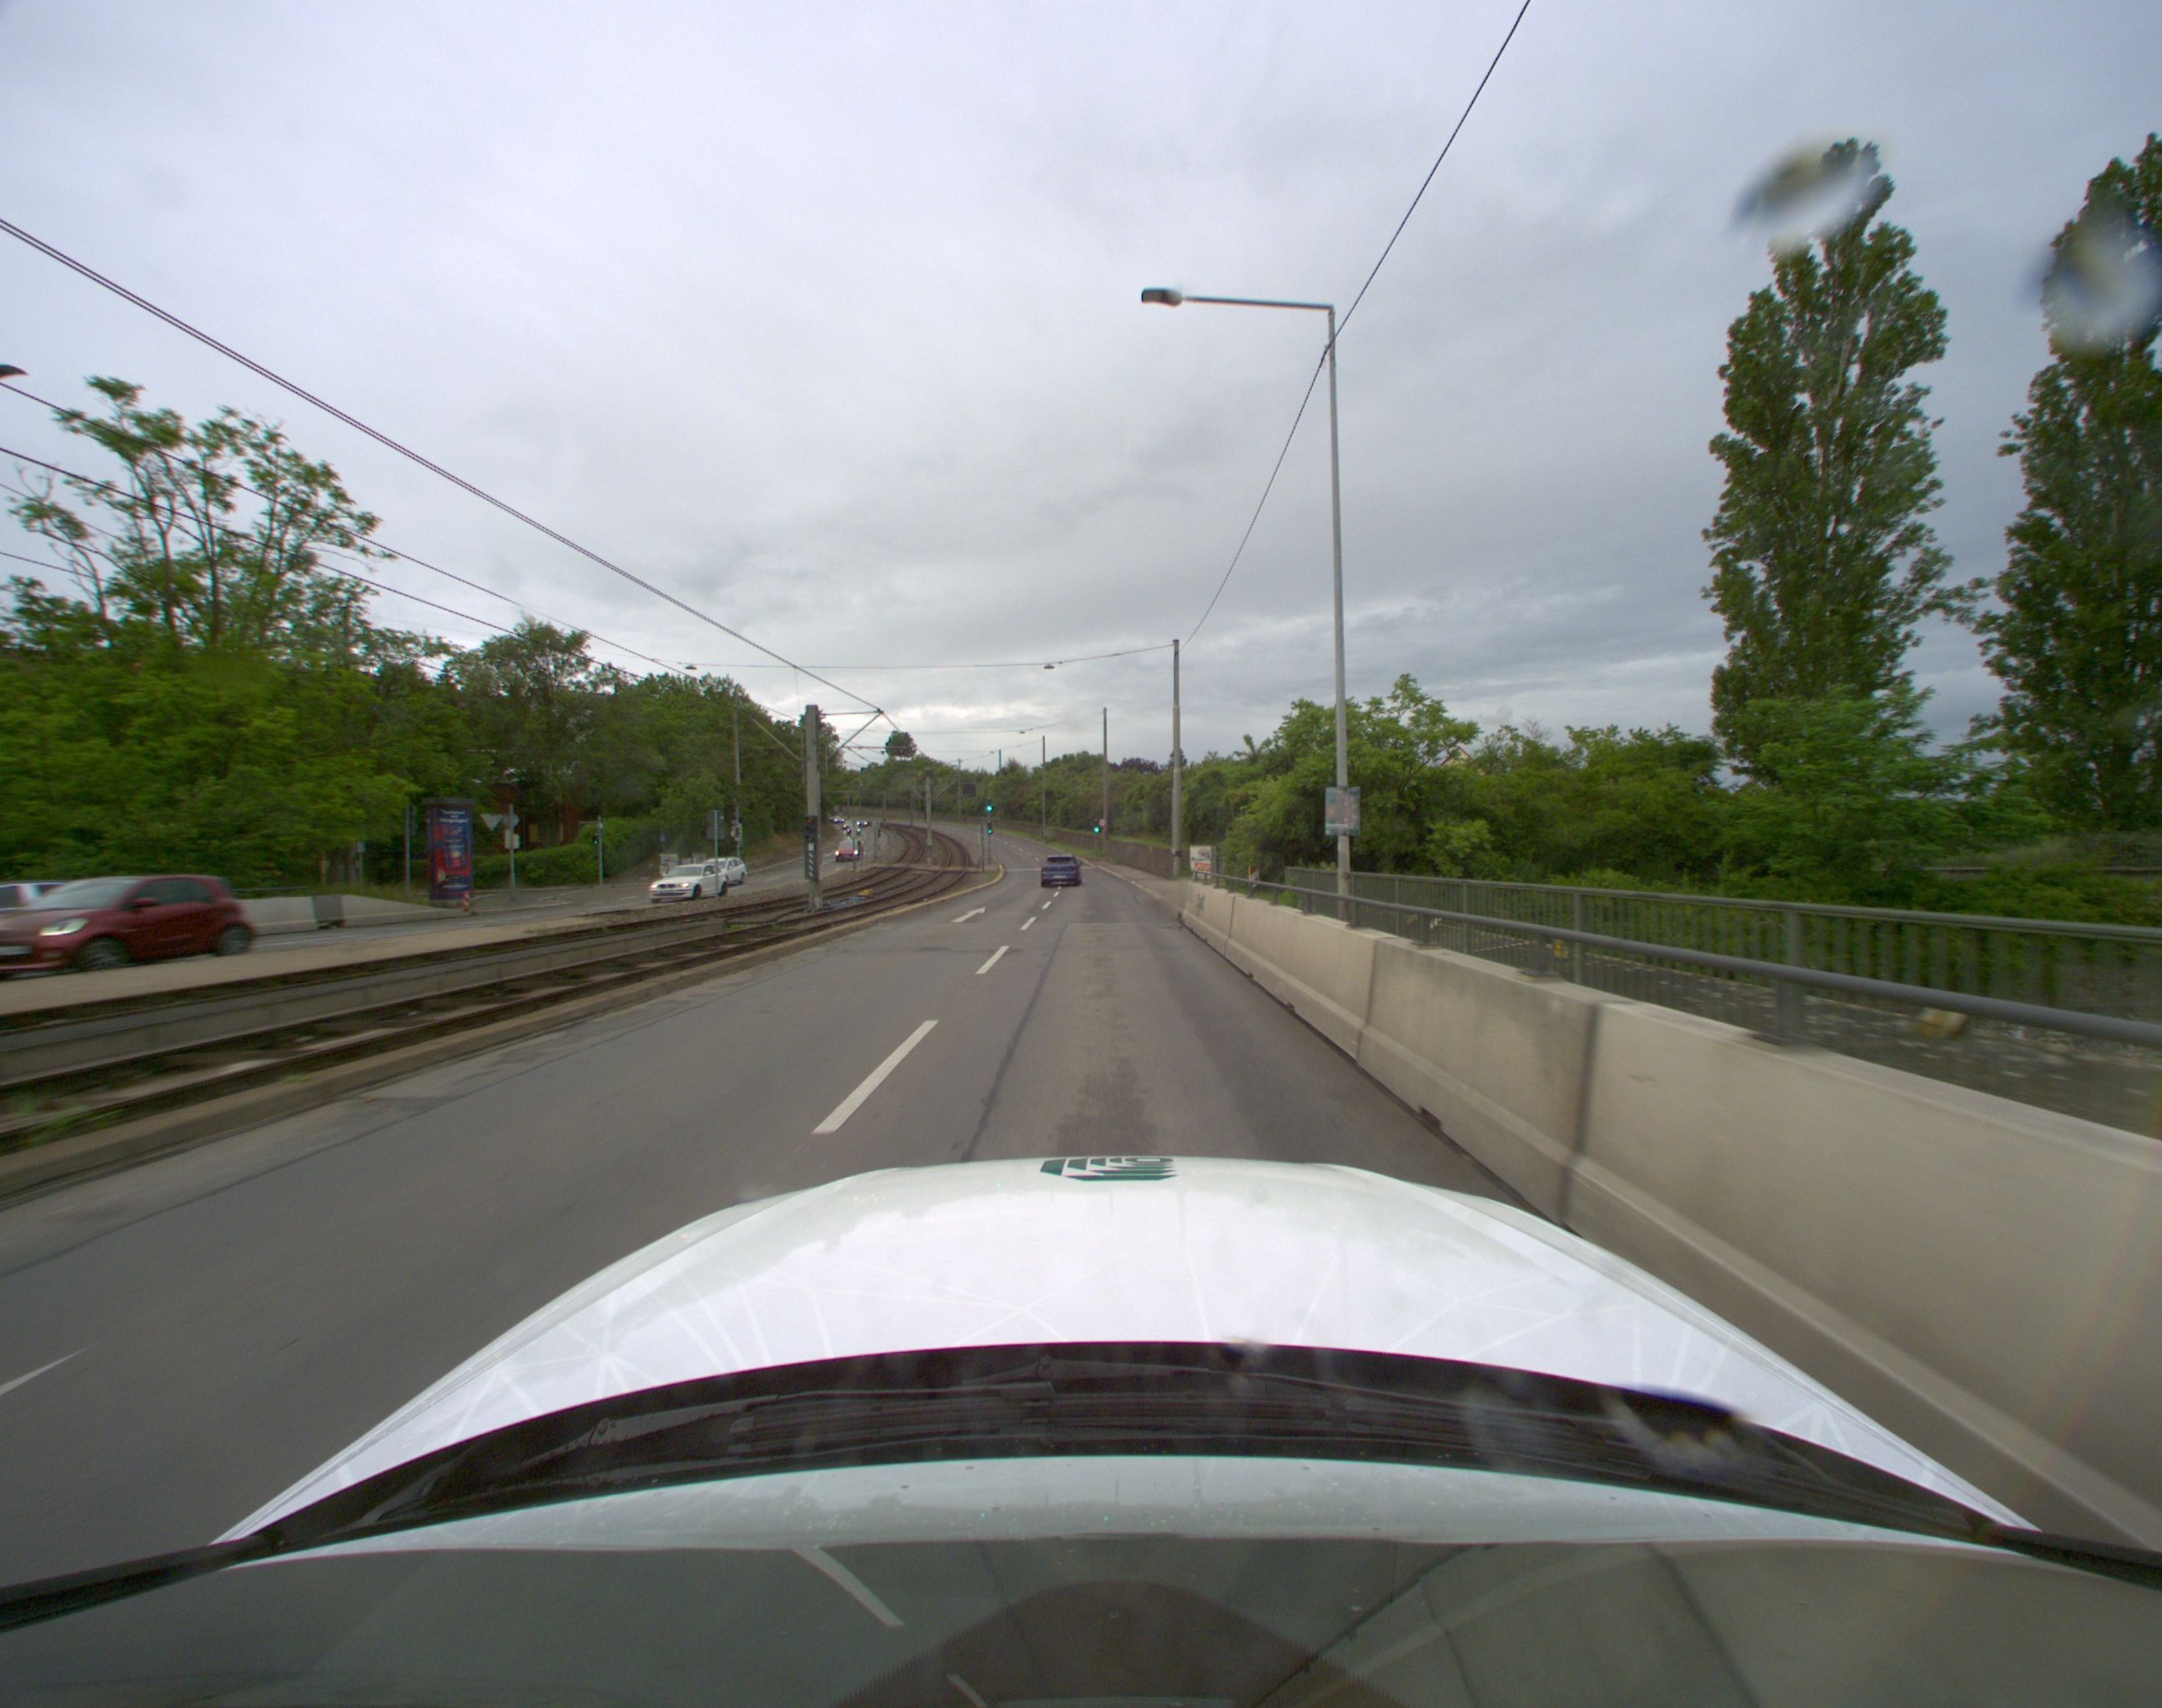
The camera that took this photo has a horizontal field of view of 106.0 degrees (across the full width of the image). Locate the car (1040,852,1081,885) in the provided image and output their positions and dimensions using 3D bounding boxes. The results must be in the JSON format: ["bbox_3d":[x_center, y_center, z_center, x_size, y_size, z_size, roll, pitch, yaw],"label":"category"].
[{"bbox_3d":[-0.903,0.657,38.070,1.757,1.501,4.000,0,0,0],"label":"car"}]

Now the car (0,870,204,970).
[{"bbox_3d":[-18.392,1.114,13.510,1.962,1.597,5.185,-2,-1,1],"label":"car"}]

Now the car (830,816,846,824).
[{"bbox_3d":[-47.964,-6.811,160.658,1.874,1.438,4.808,-5,5,-31],"label":"car"}]

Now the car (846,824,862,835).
[{"bbox_3d":[-31.544,-3.433,113.365,1.717,1.458,4.259,-2,3,-11],"label":"car"}]

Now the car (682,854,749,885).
[{"bbox_3d":[-19.373,0.797,43.425,1.818,1.515,4.521,-1,0,-5],"label":"car"}]

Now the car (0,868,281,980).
[{"bbox_3d":[-15.277,1.042,13.189,1.595,1.493,3.017,-2,0,0],"label":"car"}]

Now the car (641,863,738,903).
[{"bbox_3d":[-15.594,1.113,32.717,1.725,1.437,4.489,-2,-1,-1],"label":"car"}]

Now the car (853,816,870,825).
[{"bbox_3d":[-37.762,-5.709,139.875,1.644,1.384,3.856,-5,4,-32],"label":"car"}]

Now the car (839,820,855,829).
[{"bbox_3d":[-38.306,-4.867,133.142,1.828,1.379,4.668,-3,4,-25],"label":"car"}]

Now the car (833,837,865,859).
[{"bbox_3d":[-18.605,-0.505,65.512,1.847,1.597,4.718,-2,1,-9],"label":"car"}]
